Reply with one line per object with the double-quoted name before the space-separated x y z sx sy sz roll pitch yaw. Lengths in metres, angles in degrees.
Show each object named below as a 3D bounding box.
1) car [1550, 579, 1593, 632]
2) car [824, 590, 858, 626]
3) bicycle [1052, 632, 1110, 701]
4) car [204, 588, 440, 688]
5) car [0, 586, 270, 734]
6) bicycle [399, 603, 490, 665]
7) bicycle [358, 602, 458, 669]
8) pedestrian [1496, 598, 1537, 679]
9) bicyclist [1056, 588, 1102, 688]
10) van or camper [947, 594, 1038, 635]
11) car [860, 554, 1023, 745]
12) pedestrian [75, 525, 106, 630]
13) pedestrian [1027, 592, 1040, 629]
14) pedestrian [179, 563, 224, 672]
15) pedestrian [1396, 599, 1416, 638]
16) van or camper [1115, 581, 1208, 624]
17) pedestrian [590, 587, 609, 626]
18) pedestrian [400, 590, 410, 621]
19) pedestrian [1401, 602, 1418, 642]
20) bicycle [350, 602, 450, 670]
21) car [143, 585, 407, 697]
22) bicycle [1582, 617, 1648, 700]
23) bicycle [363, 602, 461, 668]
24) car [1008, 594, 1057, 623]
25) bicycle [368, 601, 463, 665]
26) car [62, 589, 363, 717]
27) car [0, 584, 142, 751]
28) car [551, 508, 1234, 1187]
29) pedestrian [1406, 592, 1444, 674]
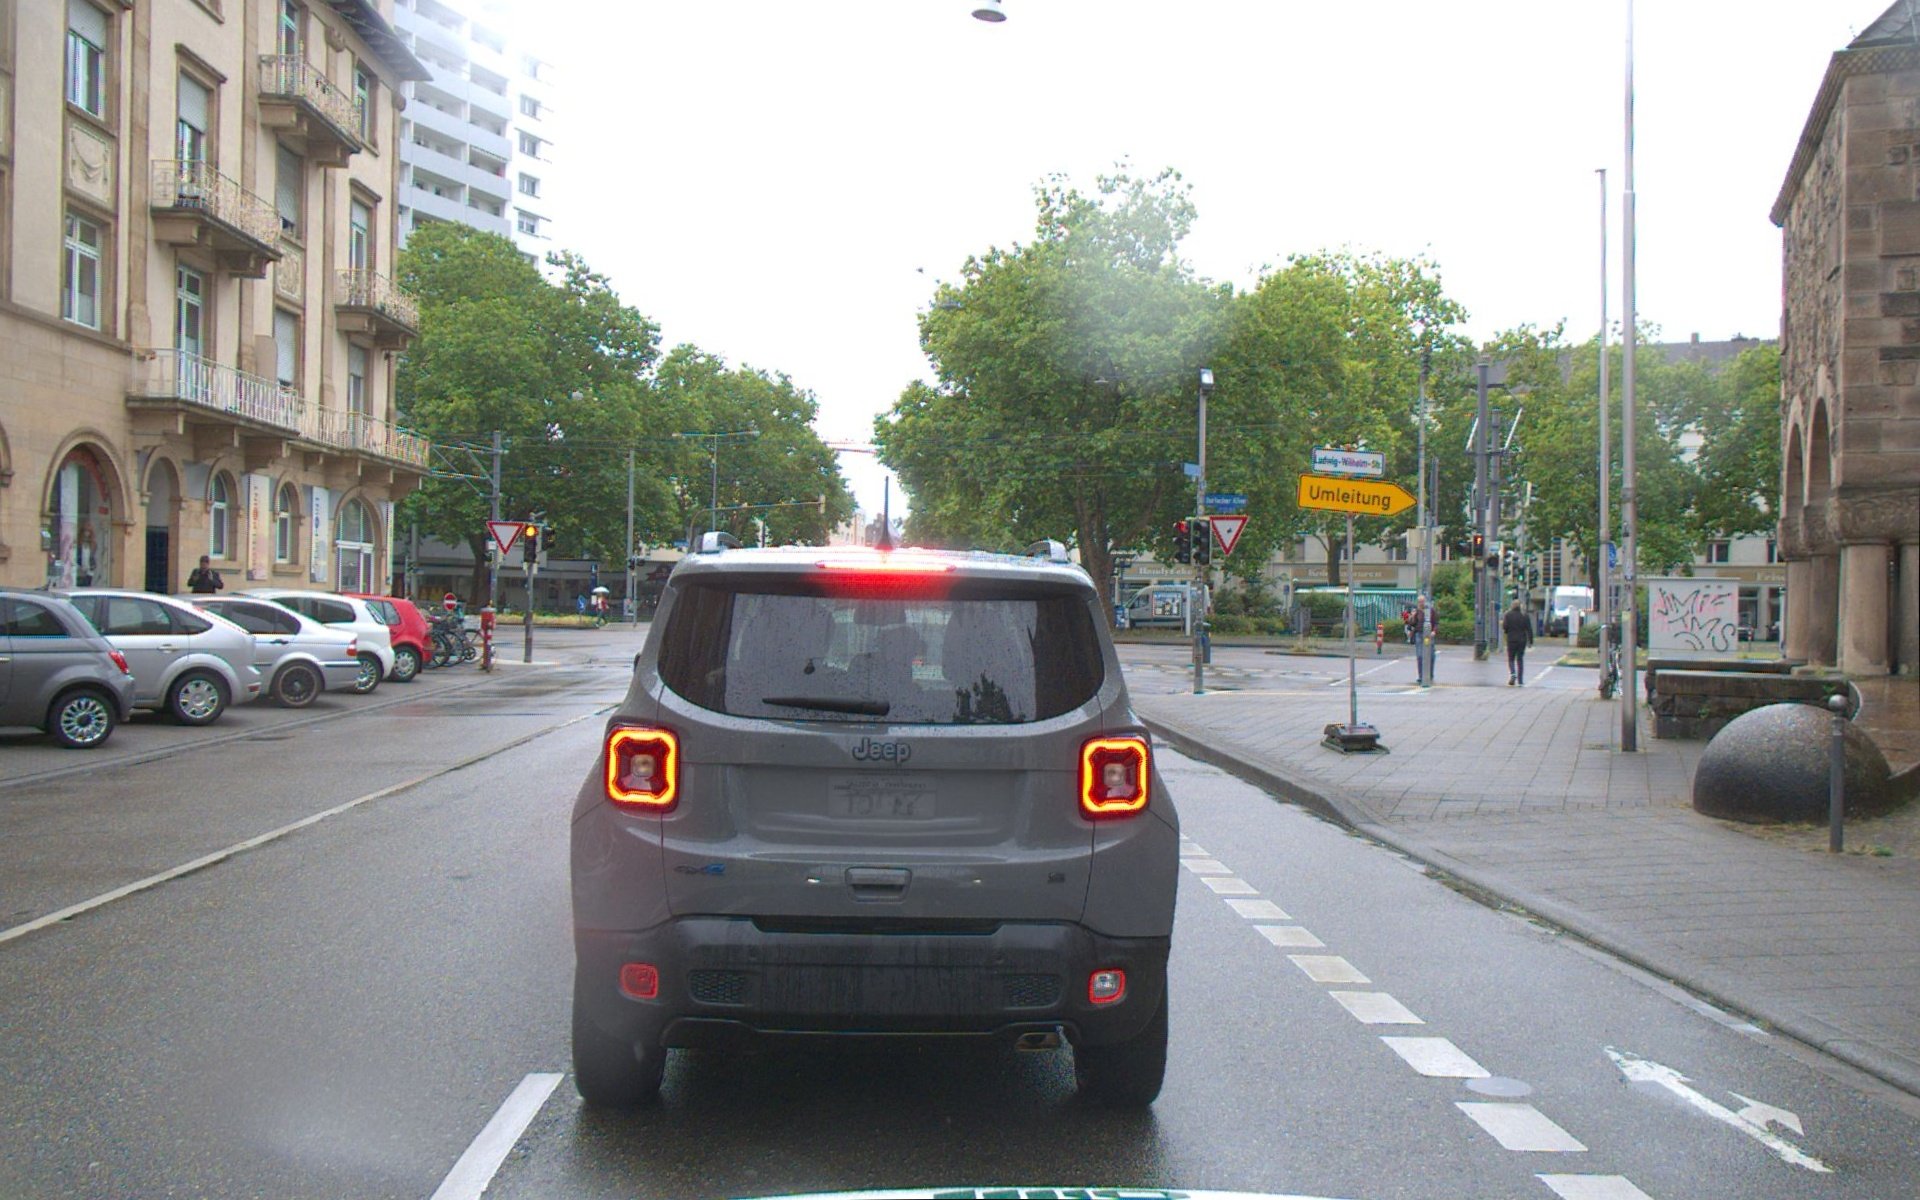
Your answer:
"car" 31.211 0.294 84.325 1.868 2.600 4.786 0 0 22
"car" -6.075 0.407 84.312 1.688 1.769 3.726 1 0 -5
"bicycle" 2.000 1.089 27.740 0.678 1.039 2.657 0 0 -2
"car" -10.744 0.609 27.949 3.372 1.585 1.681 1 0 -41
"car" -9.959 0.644 19.053 3.372 1.585 1.681 1 0 -41
"bicycle" -10.875 0.722 34.916 1.728 1.288 0.608 0 0 -3
"bicycle" -10.782 0.686 32.327 1.774 1.288 0.498 0 0 -3
"pedestrian" 11.708 0.799 34.804 0.767 1.674 0.655 0 0 23
"bicyclist" 1.989 0.629 27.806 0.673 1.646 0.883 0 0 -2
"van or camper" 2.434 1.071 124.766 6.395 2.963 2.493 0 0 24
"car" -0.243 0.531 19.831 1.734 2.049 3.999 1 0 -1
"pedestrian" -15.375 -0.395 29.243 0.359 1.854 0.347 0 -1 -4
"pedestrian" 4.109 0.578 92.682 0.637 2.049 0.483 1 0 11
"pedestrian" -14.492 0.333 31.610 0.556 2.049 0.654 1 0 -1
"pedestrian" 18.265 0.763 67.727 0.660 1.581 0.761 0 -2 27
"van or camper" 11.542 0.123 94.965 5.149 2.356 2.090 1 0 3
"pedestrian" -17.057 0.300 78.342 0.605 1.858 0.694 0 0 20
"pedestrian" -28.657 0.288 85.463 0.435 1.556 0.640 1 0 -16
"pedestrian" 18.110 0.879 66.577 0.600 1.631 0.494 0 0 23
"bicycle" -10.753 0.695 31.780 1.728 1.288 0.522 0 0 -3
"car" -10.357 0.589 25.088 3.372 1.585 1.681 1 0 -41
"bicycle" 9.842 0.854 24.908 0.322 1.174 2.076 0 0 4
"bicycle" -10.922 0.694 33.008 1.774 1.288 0.498 0 0 -3
"car" 5.238 0.610 119.553 3.363 2.049 1.549 0 -1 12
"bicycle" -11.192 0.675 34.031 1.728 1.288 0.608 0 0 -3
"car" -10.004 0.666 22.236 3.372 1.585 1.681 1 0 -41
"car" -9.963 0.629 16.024 3.372 1.585 1.629 1 0 -41
"car" -0.231 0.623 6.159 1.739 1.716 3.846 0 0 -2
"pedestrian" 10.214 0.712 36.334 0.769 1.790 0.946 0 0 14
